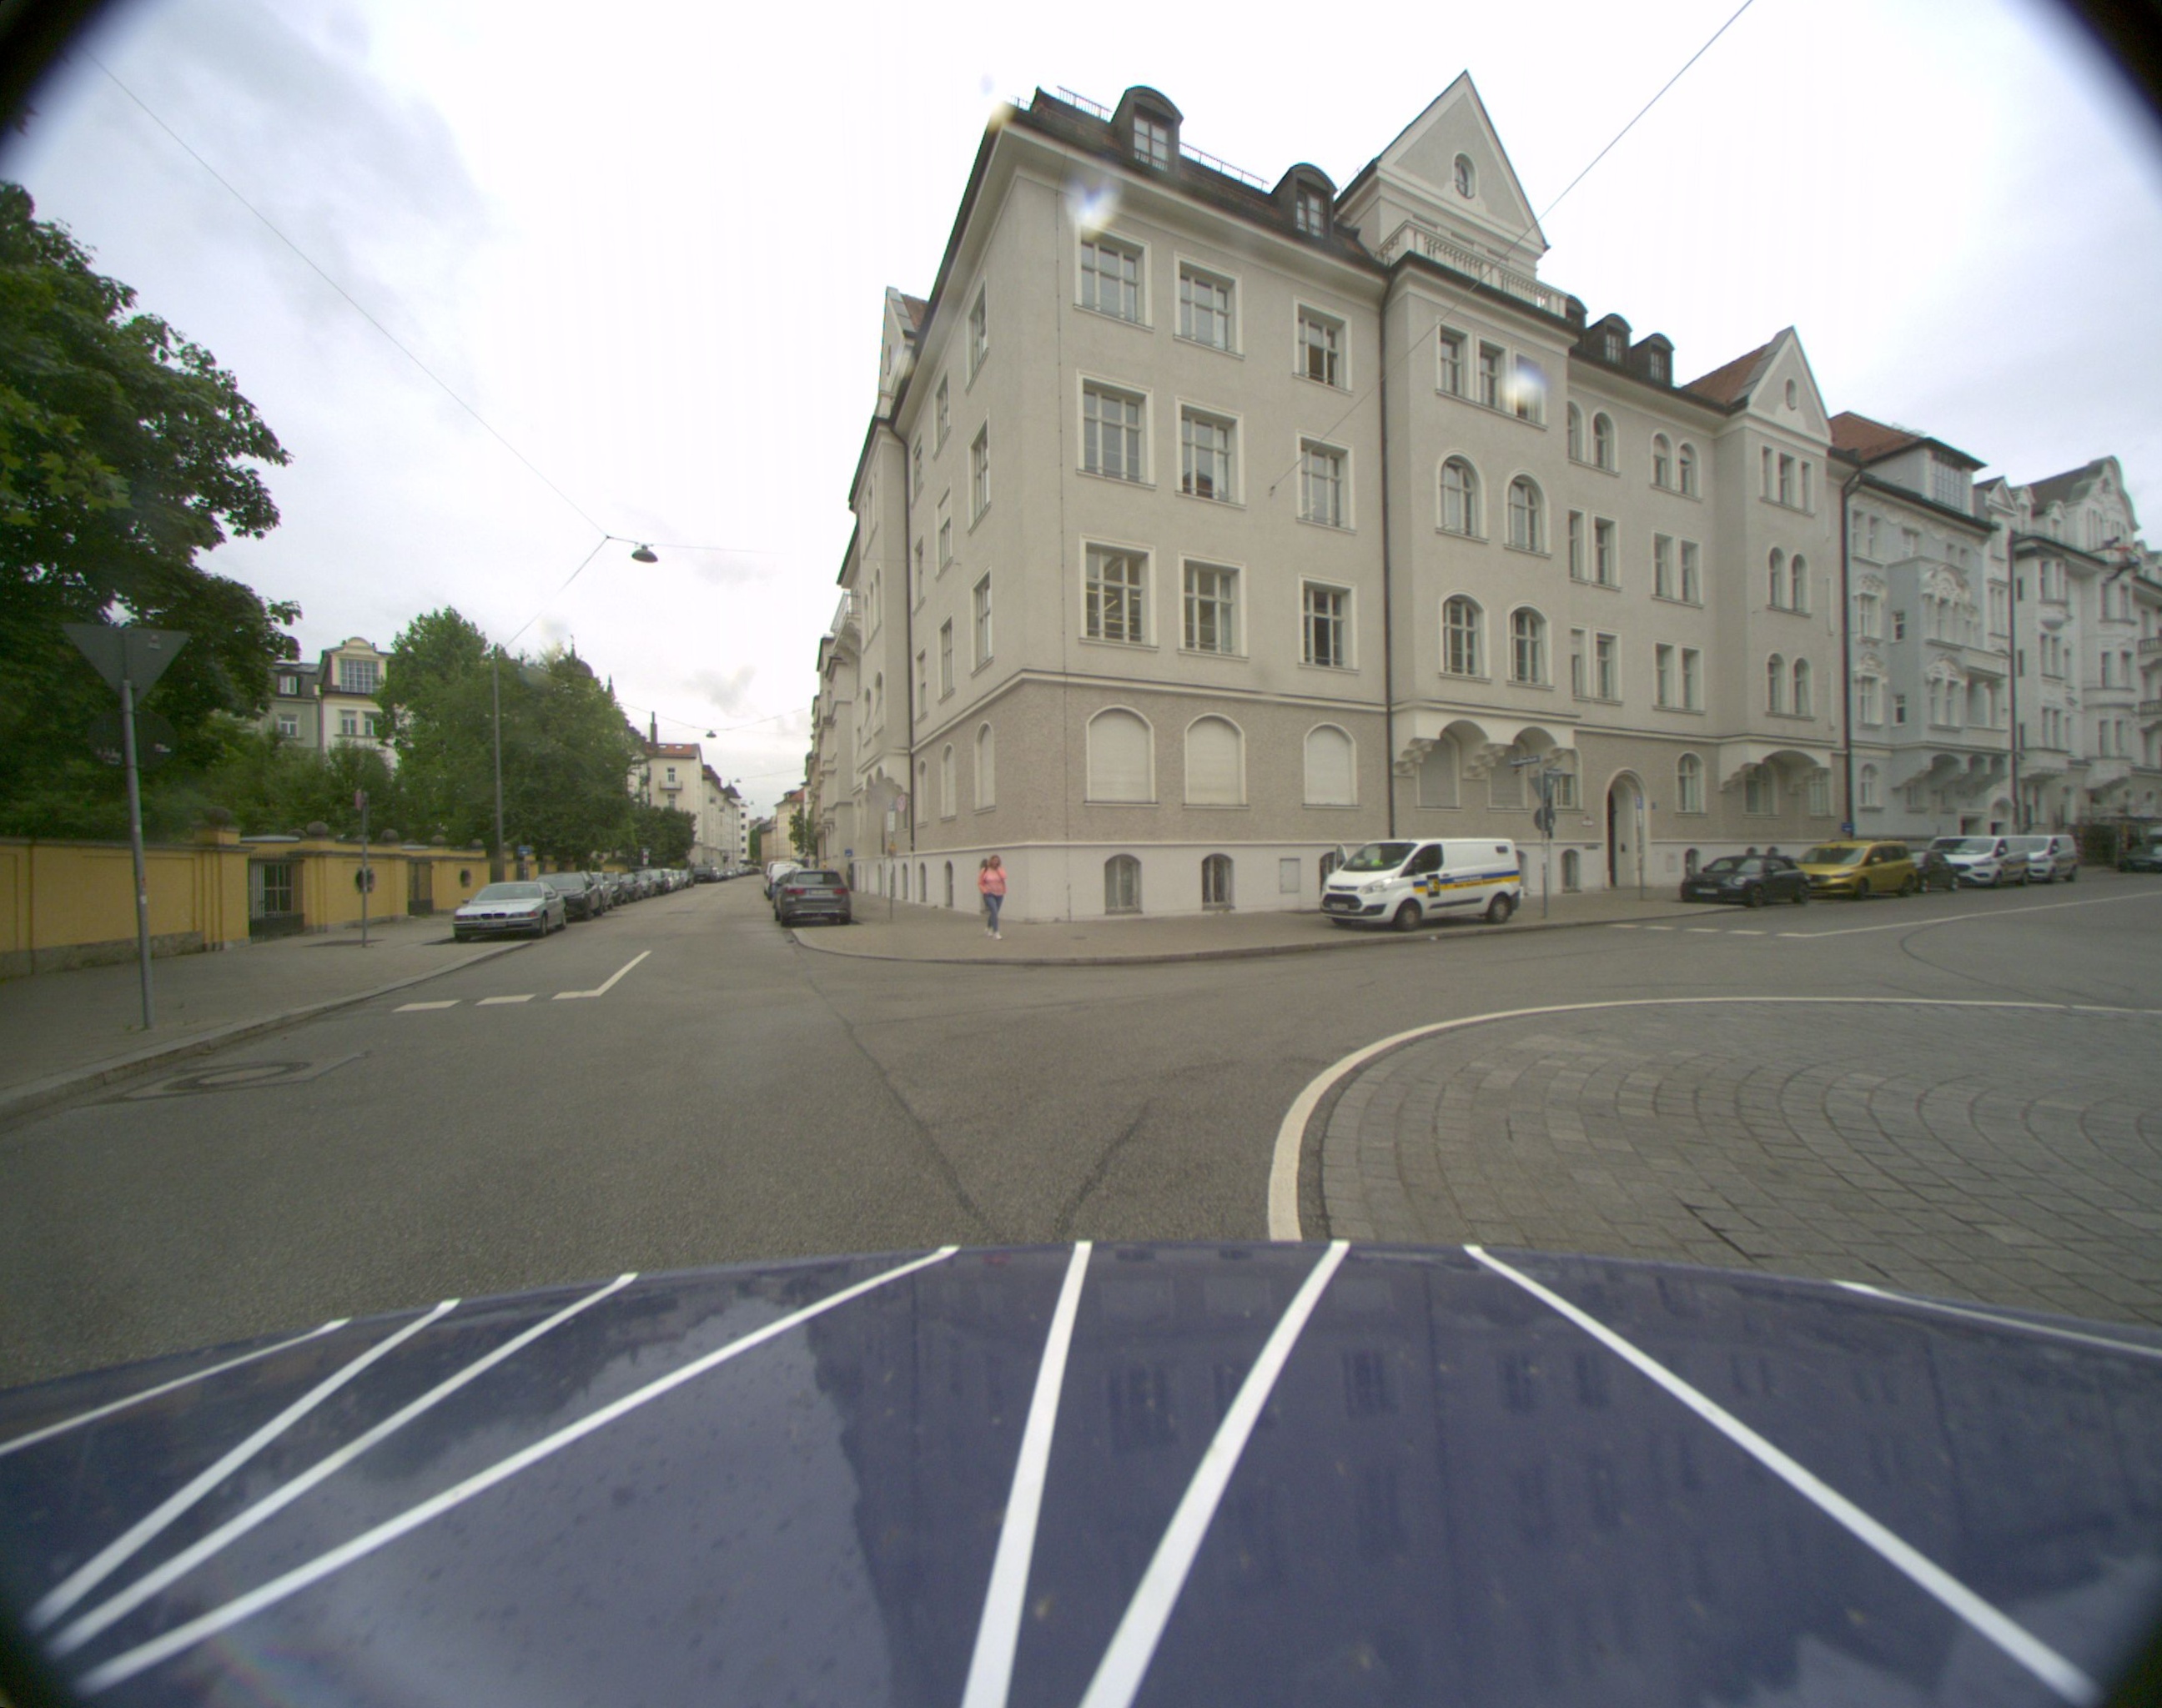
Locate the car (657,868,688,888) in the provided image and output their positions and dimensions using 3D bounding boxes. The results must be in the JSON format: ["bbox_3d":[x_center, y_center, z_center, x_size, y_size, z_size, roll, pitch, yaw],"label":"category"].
[{"bbox_3d":[-30.396,1.762,56.608,1.777,1.436,4.058,-1,0,-25],"label":"car"}]

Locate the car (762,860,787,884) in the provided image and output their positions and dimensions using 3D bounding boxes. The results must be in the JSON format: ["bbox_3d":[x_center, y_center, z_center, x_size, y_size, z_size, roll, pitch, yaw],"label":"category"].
[{"bbox_3d":[-26.668,1.537,66.065,1.895,2.024,4.412,0,-1,-24],"label":"car"}]

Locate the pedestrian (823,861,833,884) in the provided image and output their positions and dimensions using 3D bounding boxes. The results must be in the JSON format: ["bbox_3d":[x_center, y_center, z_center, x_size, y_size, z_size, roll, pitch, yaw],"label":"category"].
[{"bbox_3d":[-21.491,1.561,64.461,0.711,2.002,0.708,-1,0,-22],"label":"pedestrian"}]

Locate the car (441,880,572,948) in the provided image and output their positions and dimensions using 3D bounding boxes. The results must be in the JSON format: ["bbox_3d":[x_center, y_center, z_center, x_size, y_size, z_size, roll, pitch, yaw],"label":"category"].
[{"bbox_3d":[-14.733,1.449,19.754,1.828,1.394,4.563,-1,0,-26],"label":"car"}]

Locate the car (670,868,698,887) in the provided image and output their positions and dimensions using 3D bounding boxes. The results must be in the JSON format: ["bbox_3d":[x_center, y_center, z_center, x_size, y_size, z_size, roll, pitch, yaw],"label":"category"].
[{"bbox_3d":[-32.109,1.852,61.519,1.777,1.436,4.058,-1,0,-25],"label":"car"}]

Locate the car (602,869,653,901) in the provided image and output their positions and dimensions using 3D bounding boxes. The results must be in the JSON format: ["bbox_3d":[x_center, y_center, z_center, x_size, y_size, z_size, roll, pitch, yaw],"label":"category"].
[{"bbox_3d":[-23.217,1.543,38.993,1.777,1.436,4.395,-1,0,-25],"label":"car"}]

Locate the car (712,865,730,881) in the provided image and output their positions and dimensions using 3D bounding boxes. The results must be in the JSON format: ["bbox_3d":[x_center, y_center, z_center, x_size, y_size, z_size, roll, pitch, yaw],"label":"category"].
[{"bbox_3d":[-43.692,2.268,92.250,1.777,1.792,4.336,-1,0,-23],"label":"car"}]

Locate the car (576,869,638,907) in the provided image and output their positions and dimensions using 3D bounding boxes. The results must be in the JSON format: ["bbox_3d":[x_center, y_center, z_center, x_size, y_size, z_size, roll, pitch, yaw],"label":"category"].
[{"bbox_3d":[-21.384,1.488,34.442,1.827,1.521,4.395,-1,0,-25],"label":"car"}]

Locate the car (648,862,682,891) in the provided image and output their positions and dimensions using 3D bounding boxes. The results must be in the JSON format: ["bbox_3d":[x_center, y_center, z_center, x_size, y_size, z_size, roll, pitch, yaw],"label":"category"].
[{"bbox_3d":[-28.570,1.497,52.238,1.777,1.874,4.058,-1,0,-25],"label":"car"}]

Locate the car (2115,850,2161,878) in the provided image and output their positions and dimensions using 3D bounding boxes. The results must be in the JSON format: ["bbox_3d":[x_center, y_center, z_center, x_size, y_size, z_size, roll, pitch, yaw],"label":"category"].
[{"bbox_3d":[56.868,0.500,40.306,4.093,1.426,1.755,-1,0,-27],"label":"car"}]

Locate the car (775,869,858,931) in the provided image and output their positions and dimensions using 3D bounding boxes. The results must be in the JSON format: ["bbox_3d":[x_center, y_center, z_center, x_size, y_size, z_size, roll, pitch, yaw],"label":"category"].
[{"bbox_3d":[-7.947,1.279,22.587,1.895,1.607,4.412,0,-1,-25],"label":"car"}]

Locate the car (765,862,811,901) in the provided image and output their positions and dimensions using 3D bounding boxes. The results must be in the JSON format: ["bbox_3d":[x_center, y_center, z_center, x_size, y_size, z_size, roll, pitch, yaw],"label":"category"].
[{"bbox_3d":[-14.976,1.336,38.736,1.895,1.842,4.412,0,-1,-25],"label":"car"}]

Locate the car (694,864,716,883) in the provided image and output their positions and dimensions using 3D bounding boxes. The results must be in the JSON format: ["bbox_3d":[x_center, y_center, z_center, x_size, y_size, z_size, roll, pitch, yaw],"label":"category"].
[{"bbox_3d":[-38.363,1.953,77.616,1.777,1.792,4.336,-1,0,-23],"label":"car"}]

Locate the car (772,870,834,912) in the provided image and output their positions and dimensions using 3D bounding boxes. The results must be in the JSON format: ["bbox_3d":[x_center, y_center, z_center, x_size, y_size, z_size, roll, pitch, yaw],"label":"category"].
[{"bbox_3d":[-10.927,1.396,29.687,1.895,1.455,4.412,0,-1,-25],"label":"car"}]

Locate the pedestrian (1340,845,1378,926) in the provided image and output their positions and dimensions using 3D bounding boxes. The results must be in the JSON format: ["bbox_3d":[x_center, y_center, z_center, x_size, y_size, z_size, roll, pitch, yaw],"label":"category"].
[{"bbox_3d":[6.529,0.734,17.862,0.676,1.877,0.592,-1,0,4],"label":"pedestrian"}]

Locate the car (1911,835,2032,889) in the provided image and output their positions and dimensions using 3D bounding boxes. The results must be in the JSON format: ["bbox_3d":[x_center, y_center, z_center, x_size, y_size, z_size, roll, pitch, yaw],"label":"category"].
[{"bbox_3d":[34.322,0.278,29.254,5.000,1.926,1.961,-1,0,-28],"label":"car"}]

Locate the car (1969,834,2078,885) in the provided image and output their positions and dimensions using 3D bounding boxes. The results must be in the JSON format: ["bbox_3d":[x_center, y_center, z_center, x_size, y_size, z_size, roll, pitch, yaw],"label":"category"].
[{"bbox_3d":[39.874,0.192,32.120,5.000,2.002,1.961,-1,0,-28],"label":"car"}]

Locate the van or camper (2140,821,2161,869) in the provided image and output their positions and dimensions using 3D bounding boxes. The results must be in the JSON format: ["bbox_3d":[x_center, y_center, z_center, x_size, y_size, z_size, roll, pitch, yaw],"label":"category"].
[{"bbox_3d":[62.243,-0.532,42.899,5.466,2.621,1.956,-1,0,-26],"label":"van or camper"}]

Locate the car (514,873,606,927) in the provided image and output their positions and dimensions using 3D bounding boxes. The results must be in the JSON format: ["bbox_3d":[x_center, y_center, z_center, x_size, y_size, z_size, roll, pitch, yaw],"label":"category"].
[{"bbox_3d":[-17.065,1.442,25.121,1.828,1.521,4.563,-1,0,-26],"label":"car"}]

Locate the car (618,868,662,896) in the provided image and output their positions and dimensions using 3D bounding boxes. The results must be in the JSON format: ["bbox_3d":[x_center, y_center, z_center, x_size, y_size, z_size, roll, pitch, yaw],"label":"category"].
[{"bbox_3d":[-24.968,1.569,43.123,1.777,1.436,4.058,-1,0,-25],"label":"car"}]

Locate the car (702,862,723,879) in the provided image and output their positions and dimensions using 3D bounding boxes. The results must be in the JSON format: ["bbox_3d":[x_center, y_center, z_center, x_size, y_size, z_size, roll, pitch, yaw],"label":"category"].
[{"bbox_3d":[-40.170,1.791,82.799,1.777,1.792,4.336,-1,0,-23],"label":"car"}]

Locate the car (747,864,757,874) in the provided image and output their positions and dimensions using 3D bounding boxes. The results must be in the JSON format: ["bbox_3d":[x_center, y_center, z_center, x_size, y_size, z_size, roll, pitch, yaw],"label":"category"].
[{"bbox_3d":[-65.112,2.945,150.463,1.777,1.792,4.336,-1,0,-23],"label":"car"}]

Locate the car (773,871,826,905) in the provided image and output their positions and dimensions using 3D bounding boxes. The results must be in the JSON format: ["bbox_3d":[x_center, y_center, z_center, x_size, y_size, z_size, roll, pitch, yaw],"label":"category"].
[{"bbox_3d":[-12.666,1.486,34.088,1.895,1.366,4.412,0,-1,-25],"label":"car"}]

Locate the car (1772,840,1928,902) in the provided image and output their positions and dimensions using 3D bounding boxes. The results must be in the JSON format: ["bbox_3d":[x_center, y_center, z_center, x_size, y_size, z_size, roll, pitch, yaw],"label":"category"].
[{"bbox_3d":[24.519,0.486,24.223,4.826,1.842,1.853,-1,0,-23],"label":"car"}]

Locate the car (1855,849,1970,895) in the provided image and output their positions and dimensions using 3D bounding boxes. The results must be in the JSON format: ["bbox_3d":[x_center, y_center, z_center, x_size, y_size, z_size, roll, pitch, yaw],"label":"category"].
[{"bbox_3d":[29.064,0.593,26.545,3.788,1.475,1.633,-1,0,-25],"label":"car"}]

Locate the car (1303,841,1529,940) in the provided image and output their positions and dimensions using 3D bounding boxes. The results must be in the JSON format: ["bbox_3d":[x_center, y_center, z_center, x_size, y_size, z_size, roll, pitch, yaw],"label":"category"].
[{"bbox_3d":[7.505,0.697,16.944,4.934,1.951,1.917,-1,1,-27],"label":"car"}]

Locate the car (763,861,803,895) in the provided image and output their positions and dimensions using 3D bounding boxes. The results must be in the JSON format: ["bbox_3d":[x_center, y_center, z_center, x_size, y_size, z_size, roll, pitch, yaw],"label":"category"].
[{"bbox_3d":[-17.483,1.352,44.465,1.895,1.872,4.412,0,-1,-25],"label":"car"}]

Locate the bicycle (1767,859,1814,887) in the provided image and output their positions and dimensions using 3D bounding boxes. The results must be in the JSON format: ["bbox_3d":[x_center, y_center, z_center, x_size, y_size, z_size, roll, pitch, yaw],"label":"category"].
[{"bbox_3d":[29.425,0.779,31.512,2.039,1.087,0.695,-1,2,-25],"label":"bicycle"}]

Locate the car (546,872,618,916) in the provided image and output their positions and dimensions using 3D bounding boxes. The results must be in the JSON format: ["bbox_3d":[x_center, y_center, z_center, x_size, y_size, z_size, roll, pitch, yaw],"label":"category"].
[{"bbox_3d":[-19.391,1.488,29.692,1.828,1.521,4.394,-1,0,-26],"label":"car"}]

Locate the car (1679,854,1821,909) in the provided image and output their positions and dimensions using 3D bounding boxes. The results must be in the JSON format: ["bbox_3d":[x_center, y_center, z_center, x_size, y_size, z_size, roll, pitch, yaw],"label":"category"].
[{"bbox_3d":[19.460,0.738,22.079,3.901,1.449,1.666,-1,0,-25],"label":"car"}]

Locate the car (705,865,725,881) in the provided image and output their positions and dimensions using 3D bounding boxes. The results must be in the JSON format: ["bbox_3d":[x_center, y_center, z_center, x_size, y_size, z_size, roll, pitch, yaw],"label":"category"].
[{"bbox_3d":[-42.077,2.161,87.372,1.777,1.792,4.336,-1,0,-23],"label":"car"}]

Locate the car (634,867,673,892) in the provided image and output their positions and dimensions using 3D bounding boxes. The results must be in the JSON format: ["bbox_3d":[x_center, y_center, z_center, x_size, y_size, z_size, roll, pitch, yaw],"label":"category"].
[{"bbox_3d":[-26.496,1.553,47.234,1.777,1.436,4.058,-1,0,-25],"label":"car"}]

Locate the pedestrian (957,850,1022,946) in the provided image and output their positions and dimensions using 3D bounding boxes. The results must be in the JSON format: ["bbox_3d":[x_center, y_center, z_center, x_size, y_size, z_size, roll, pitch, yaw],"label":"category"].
[{"bbox_3d":[-1.881,0.864,15.461,1.212,1.862,1.090,-1,0,-11],"label":"pedestrian"}]
